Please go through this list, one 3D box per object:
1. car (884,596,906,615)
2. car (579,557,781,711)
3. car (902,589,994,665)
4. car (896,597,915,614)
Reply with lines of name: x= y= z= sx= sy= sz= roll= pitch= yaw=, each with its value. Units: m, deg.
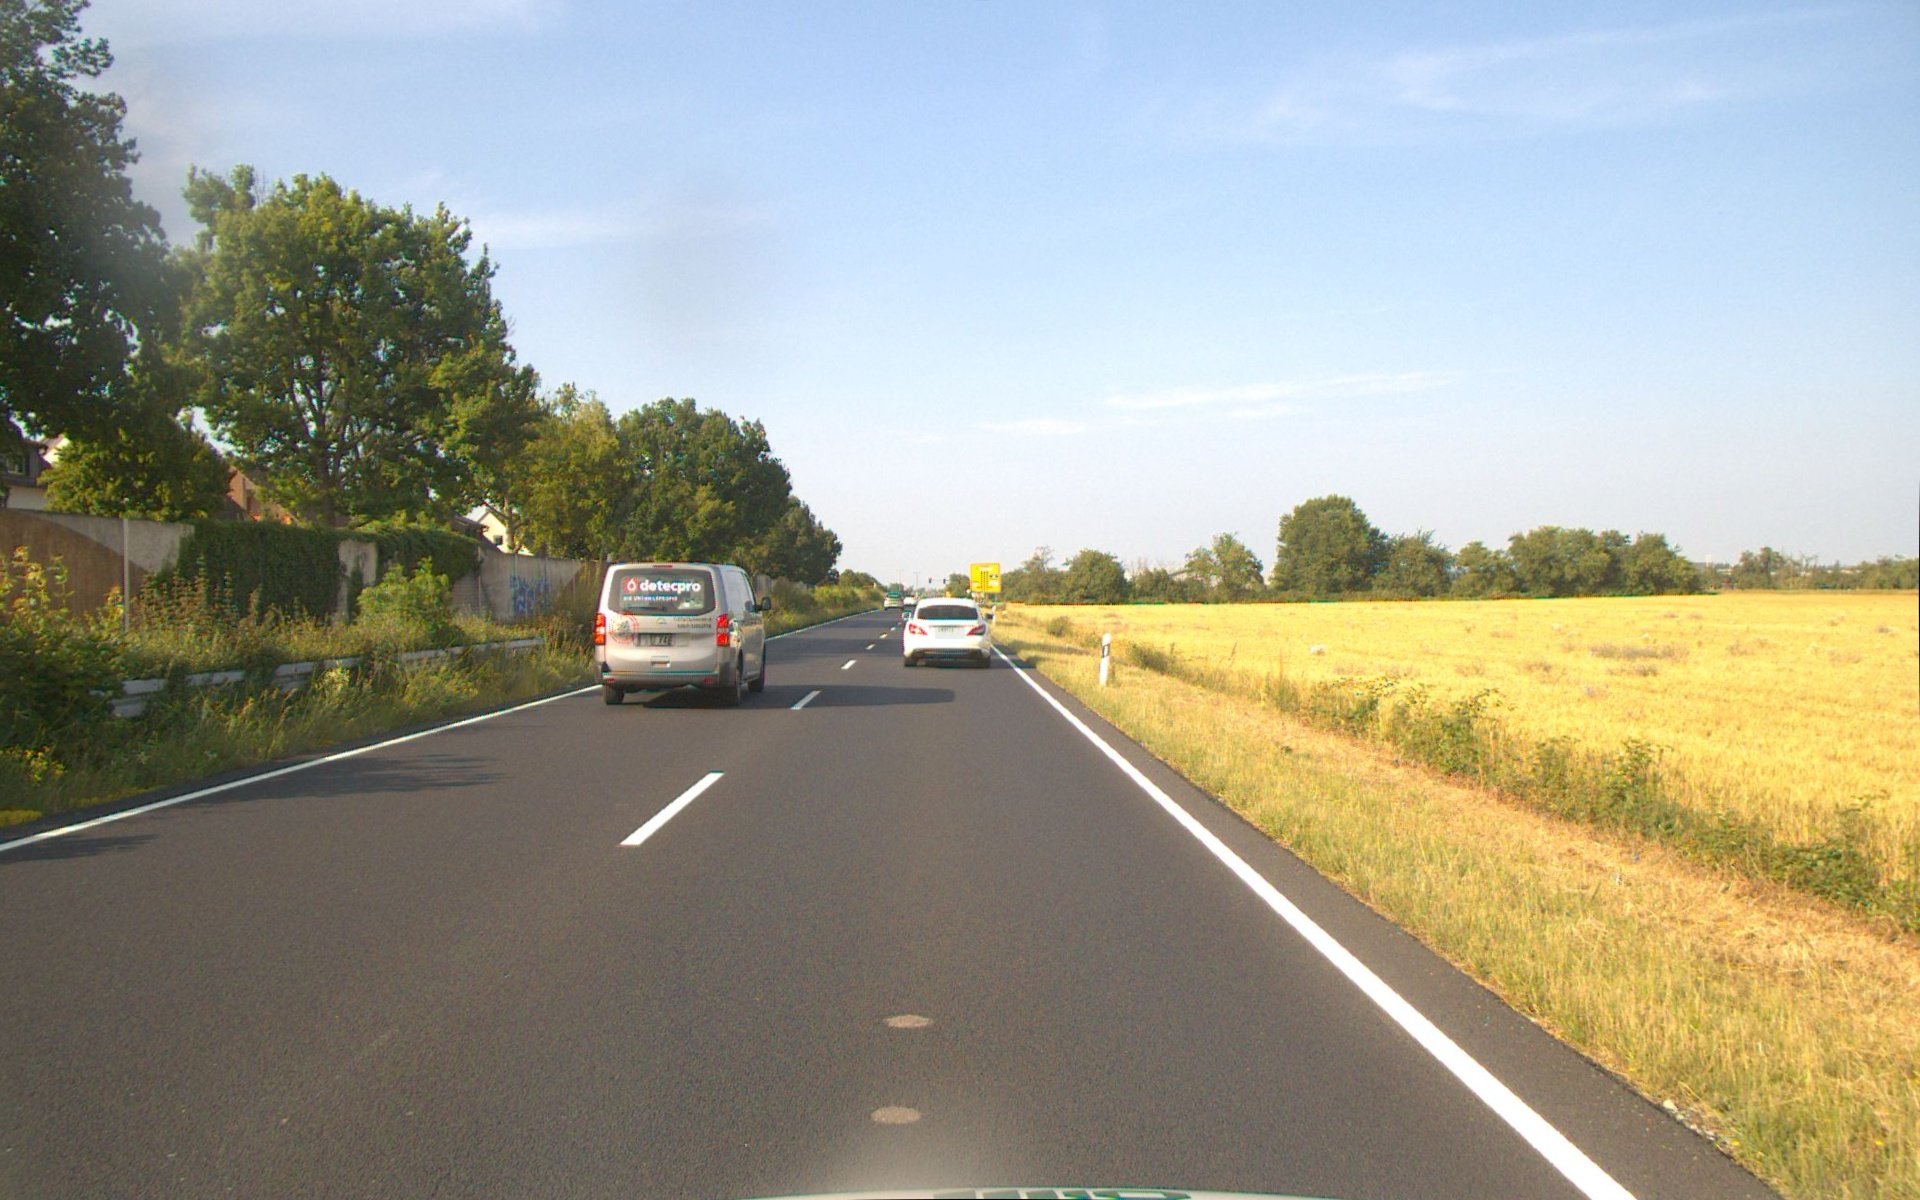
car: x=-5.494 y=0.484 z=140.317 sx=1.682 sy=1.518 sz=3.584 roll=1 pitch=0 yaw=0
car: x=-3.829 y=0.419 z=23.481 sx=1.984 sy=1.925 sz=4.958 roll=1 pitch=0 yaw=0
car: x=-0.274 y=0.557 z=35.755 sx=1.856 sy=1.535 sz=3.999 roll=0 pitch=0 yaw=-1
car: x=-5.475 y=0.522 z=166.729 sx=1.839 sy=1.680 sz=3.662 roll=1 pitch=0 yaw=-2
